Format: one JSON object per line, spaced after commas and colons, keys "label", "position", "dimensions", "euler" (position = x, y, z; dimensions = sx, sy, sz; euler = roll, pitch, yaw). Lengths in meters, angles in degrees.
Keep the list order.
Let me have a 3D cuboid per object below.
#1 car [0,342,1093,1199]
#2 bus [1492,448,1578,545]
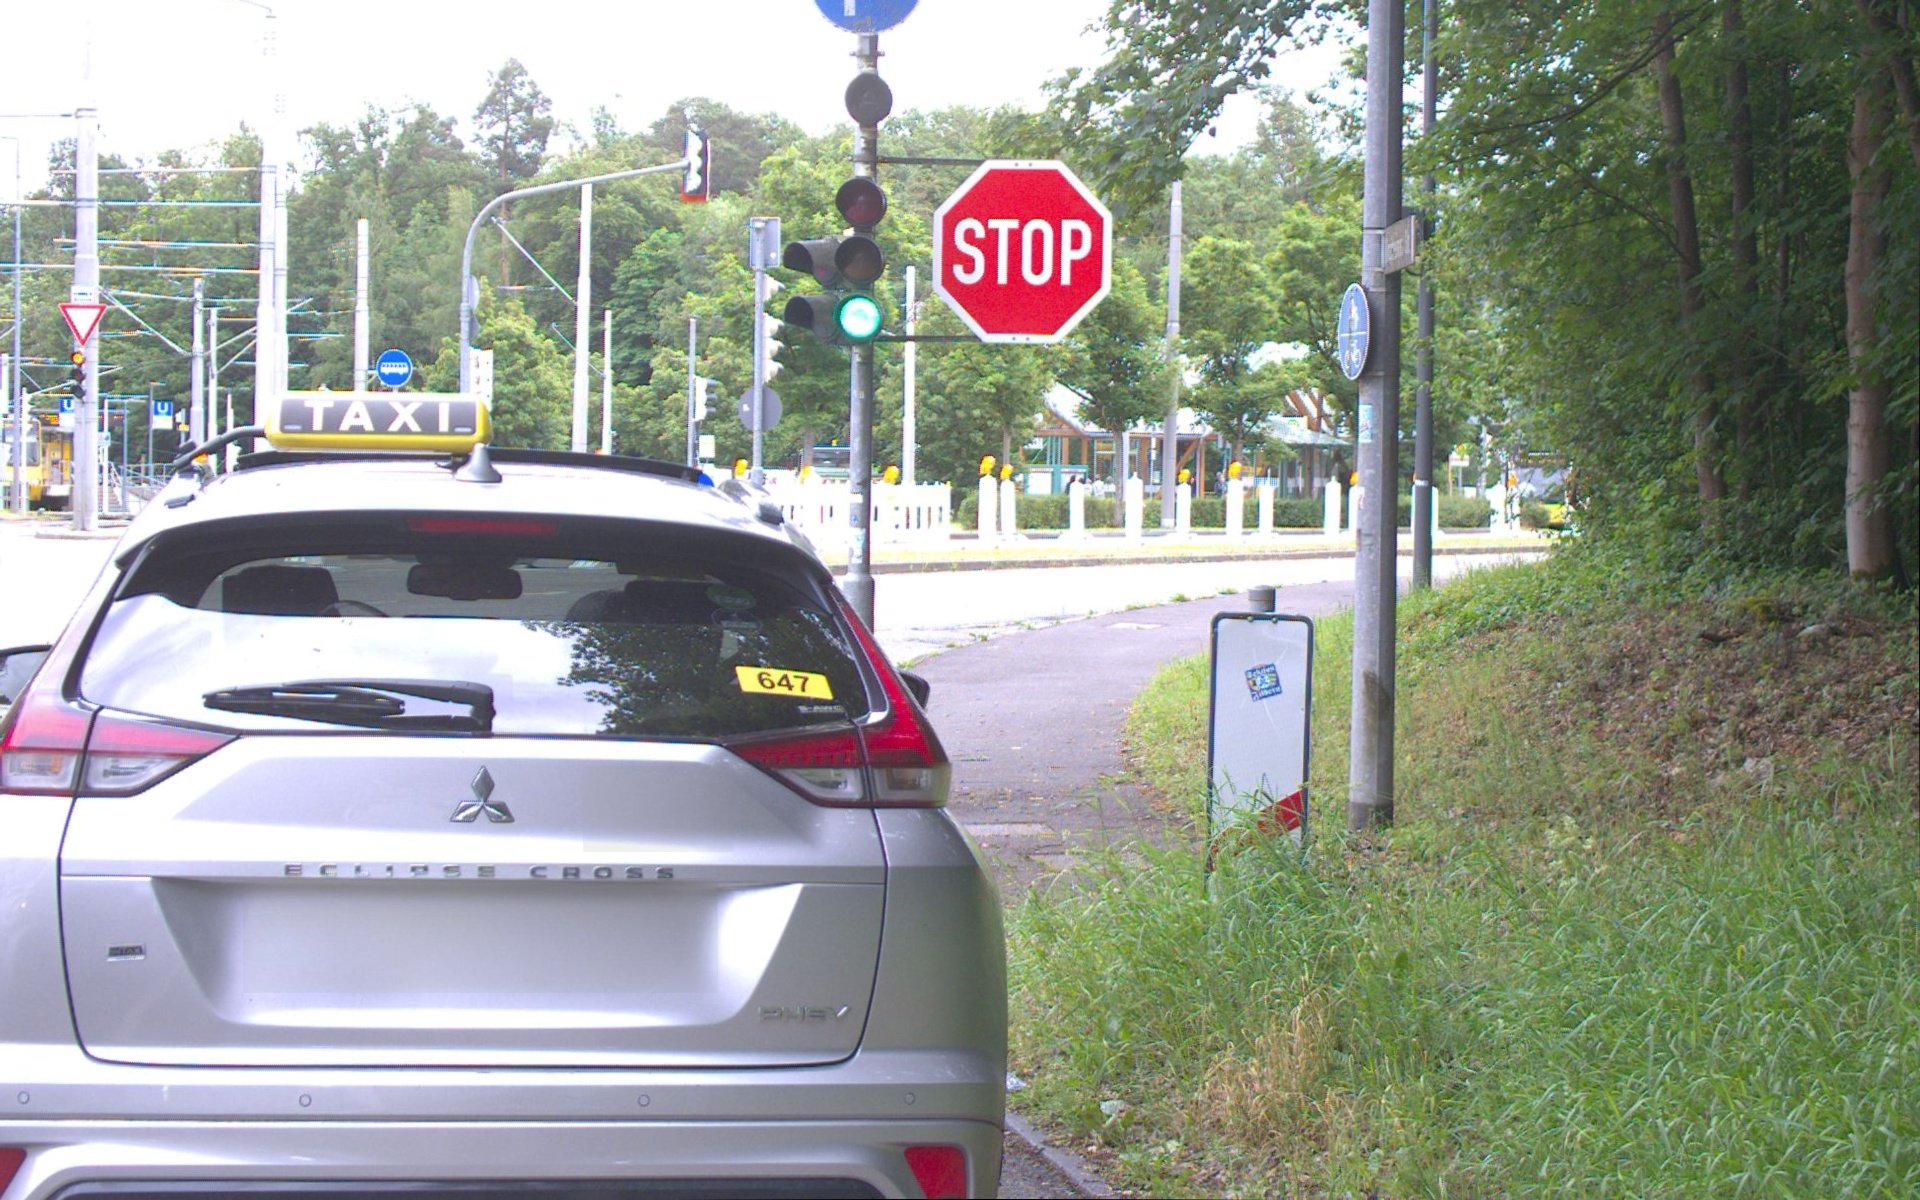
{"label": "car", "position": [-1.006, 0.468, 6.802], "dimensions": [1.773, 1.742, 3.782], "euler": [2, 2, -9]}
{"label": "bus", "position": [22.661, -4.157, 136.000], "dimensions": [2.822, 3.590, 12.801], "euler": [1, 2, 8]}
